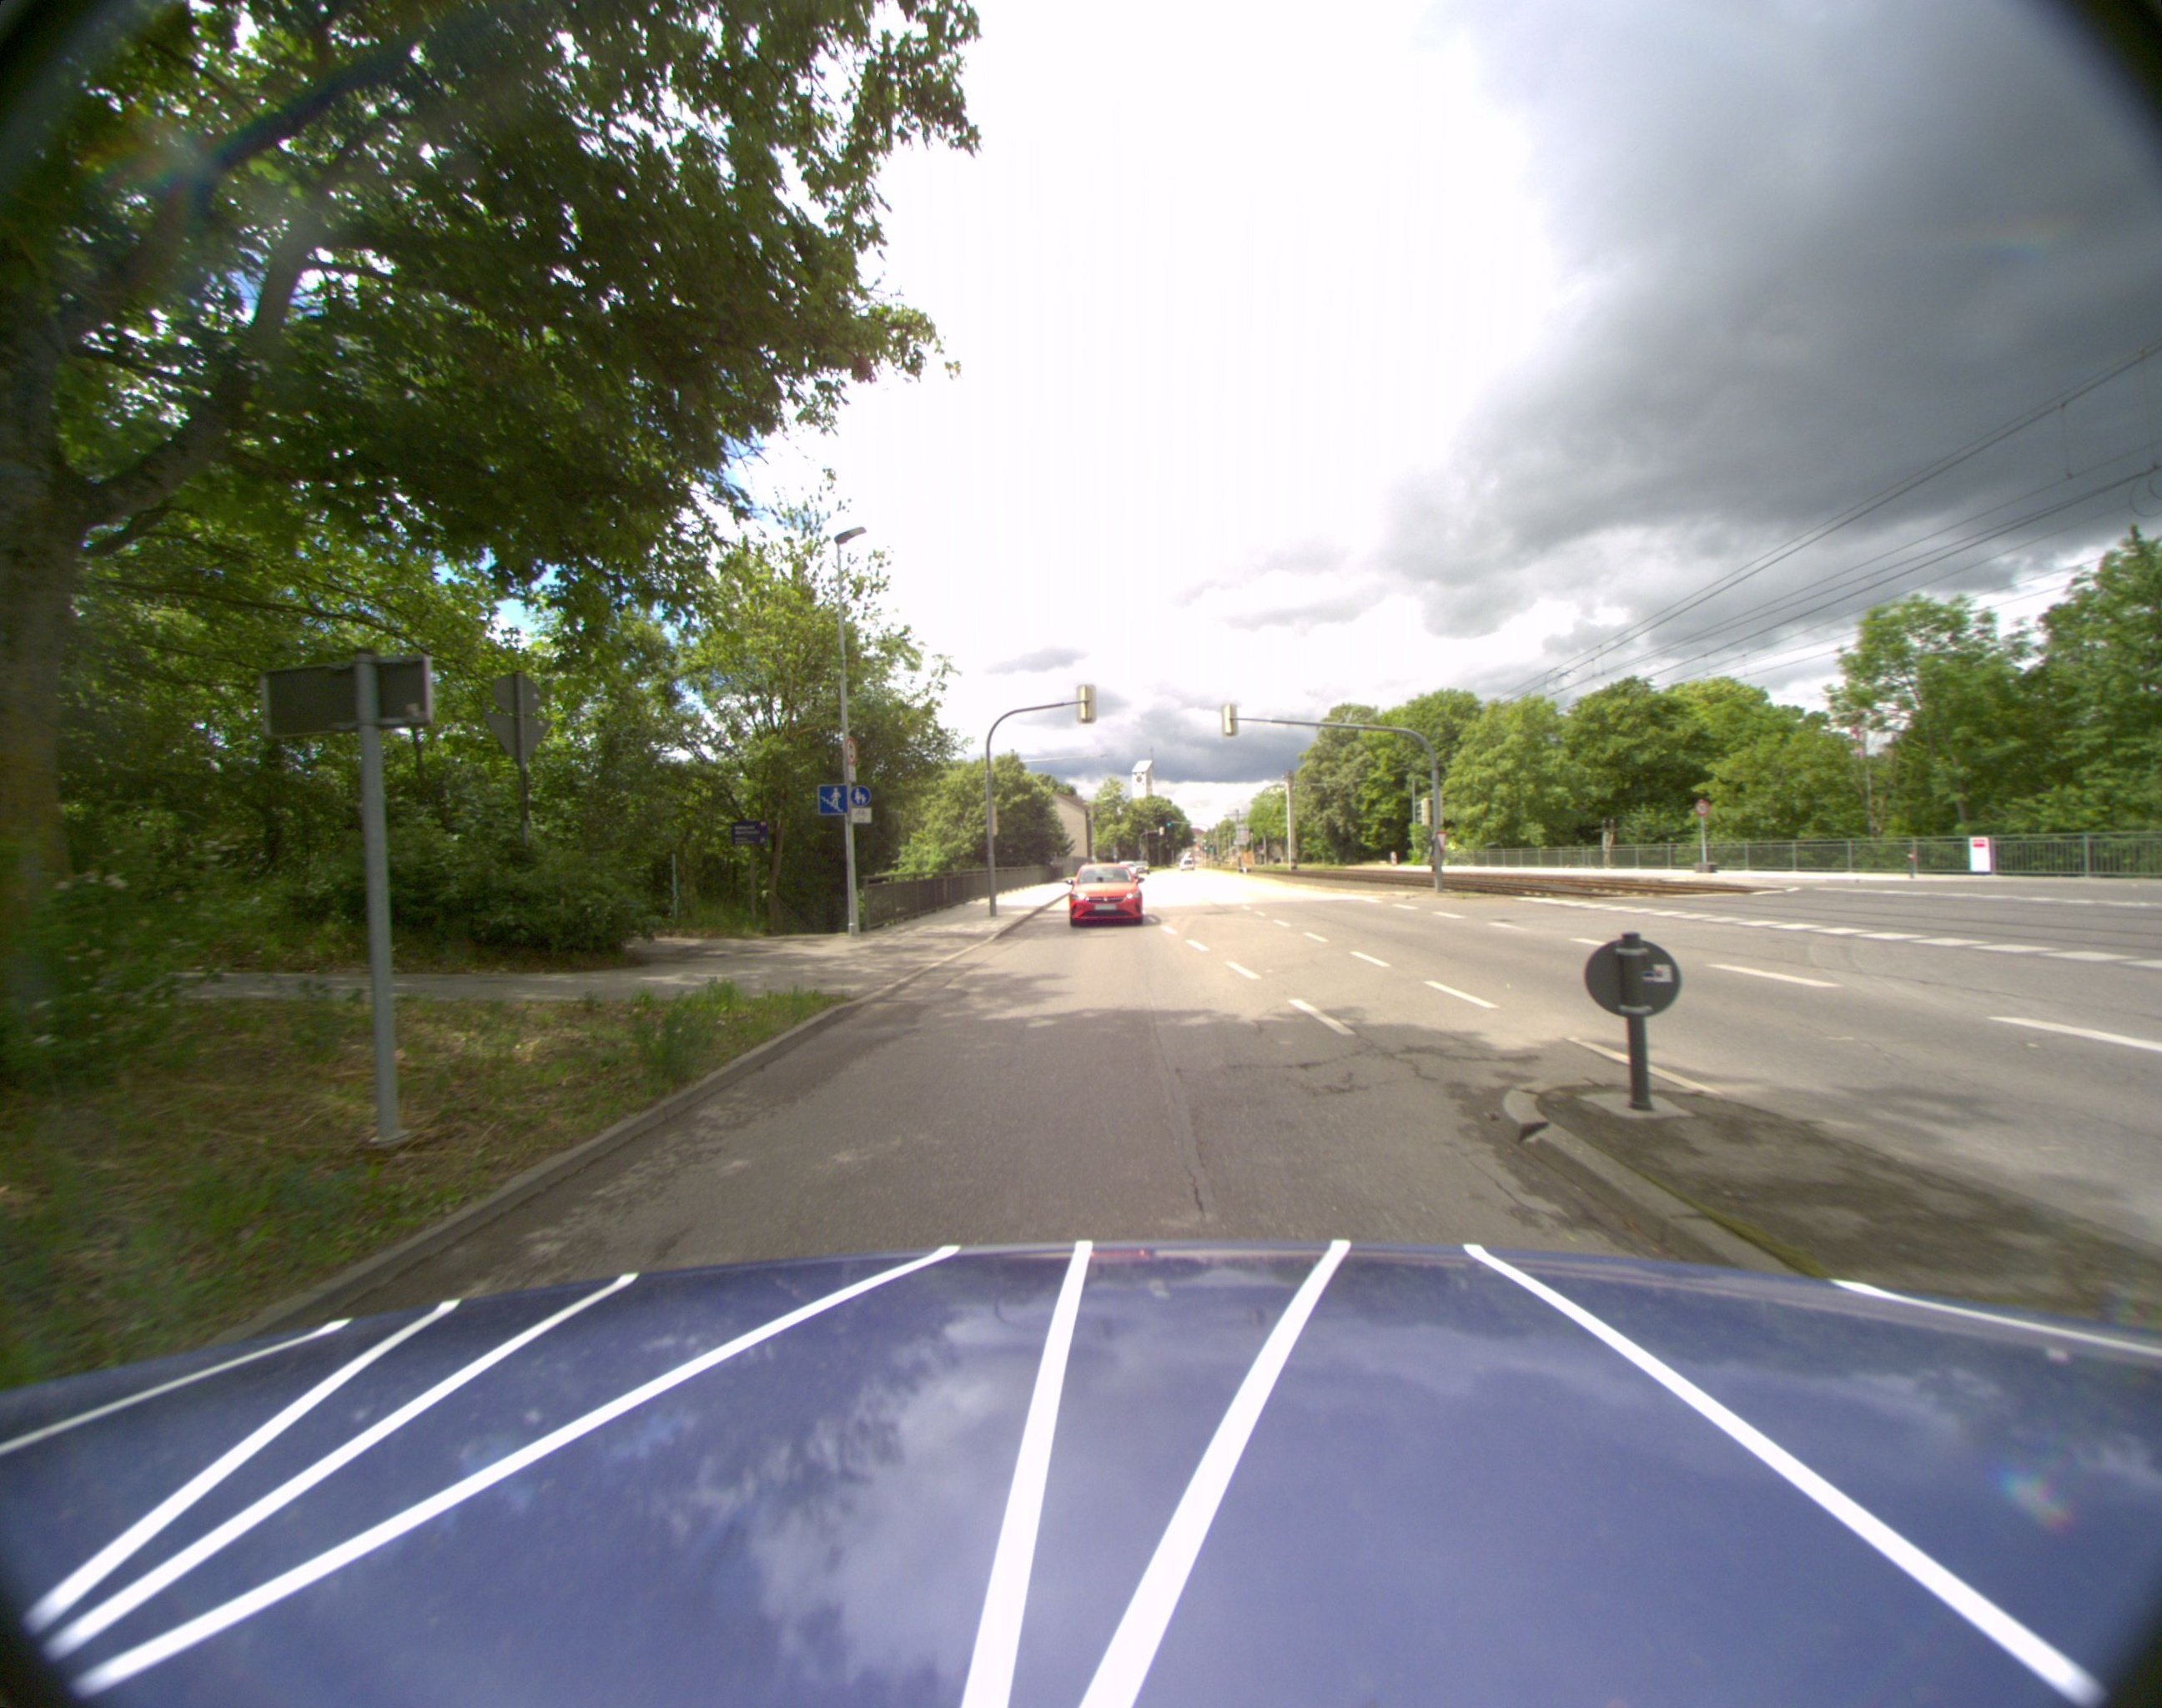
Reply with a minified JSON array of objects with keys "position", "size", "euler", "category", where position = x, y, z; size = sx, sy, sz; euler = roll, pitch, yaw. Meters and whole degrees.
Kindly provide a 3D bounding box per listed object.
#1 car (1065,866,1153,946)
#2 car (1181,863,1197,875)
[{"position":[0.613,1.116,18.192],"size":[1.790,1.453,4.852],"euler":[-2,1,1],"category":"car"},{"position":[14.029,1.913,98.682],"size":[1.789,1.340,4.854],"euler":[-2,1,5],"category":"car"}]
